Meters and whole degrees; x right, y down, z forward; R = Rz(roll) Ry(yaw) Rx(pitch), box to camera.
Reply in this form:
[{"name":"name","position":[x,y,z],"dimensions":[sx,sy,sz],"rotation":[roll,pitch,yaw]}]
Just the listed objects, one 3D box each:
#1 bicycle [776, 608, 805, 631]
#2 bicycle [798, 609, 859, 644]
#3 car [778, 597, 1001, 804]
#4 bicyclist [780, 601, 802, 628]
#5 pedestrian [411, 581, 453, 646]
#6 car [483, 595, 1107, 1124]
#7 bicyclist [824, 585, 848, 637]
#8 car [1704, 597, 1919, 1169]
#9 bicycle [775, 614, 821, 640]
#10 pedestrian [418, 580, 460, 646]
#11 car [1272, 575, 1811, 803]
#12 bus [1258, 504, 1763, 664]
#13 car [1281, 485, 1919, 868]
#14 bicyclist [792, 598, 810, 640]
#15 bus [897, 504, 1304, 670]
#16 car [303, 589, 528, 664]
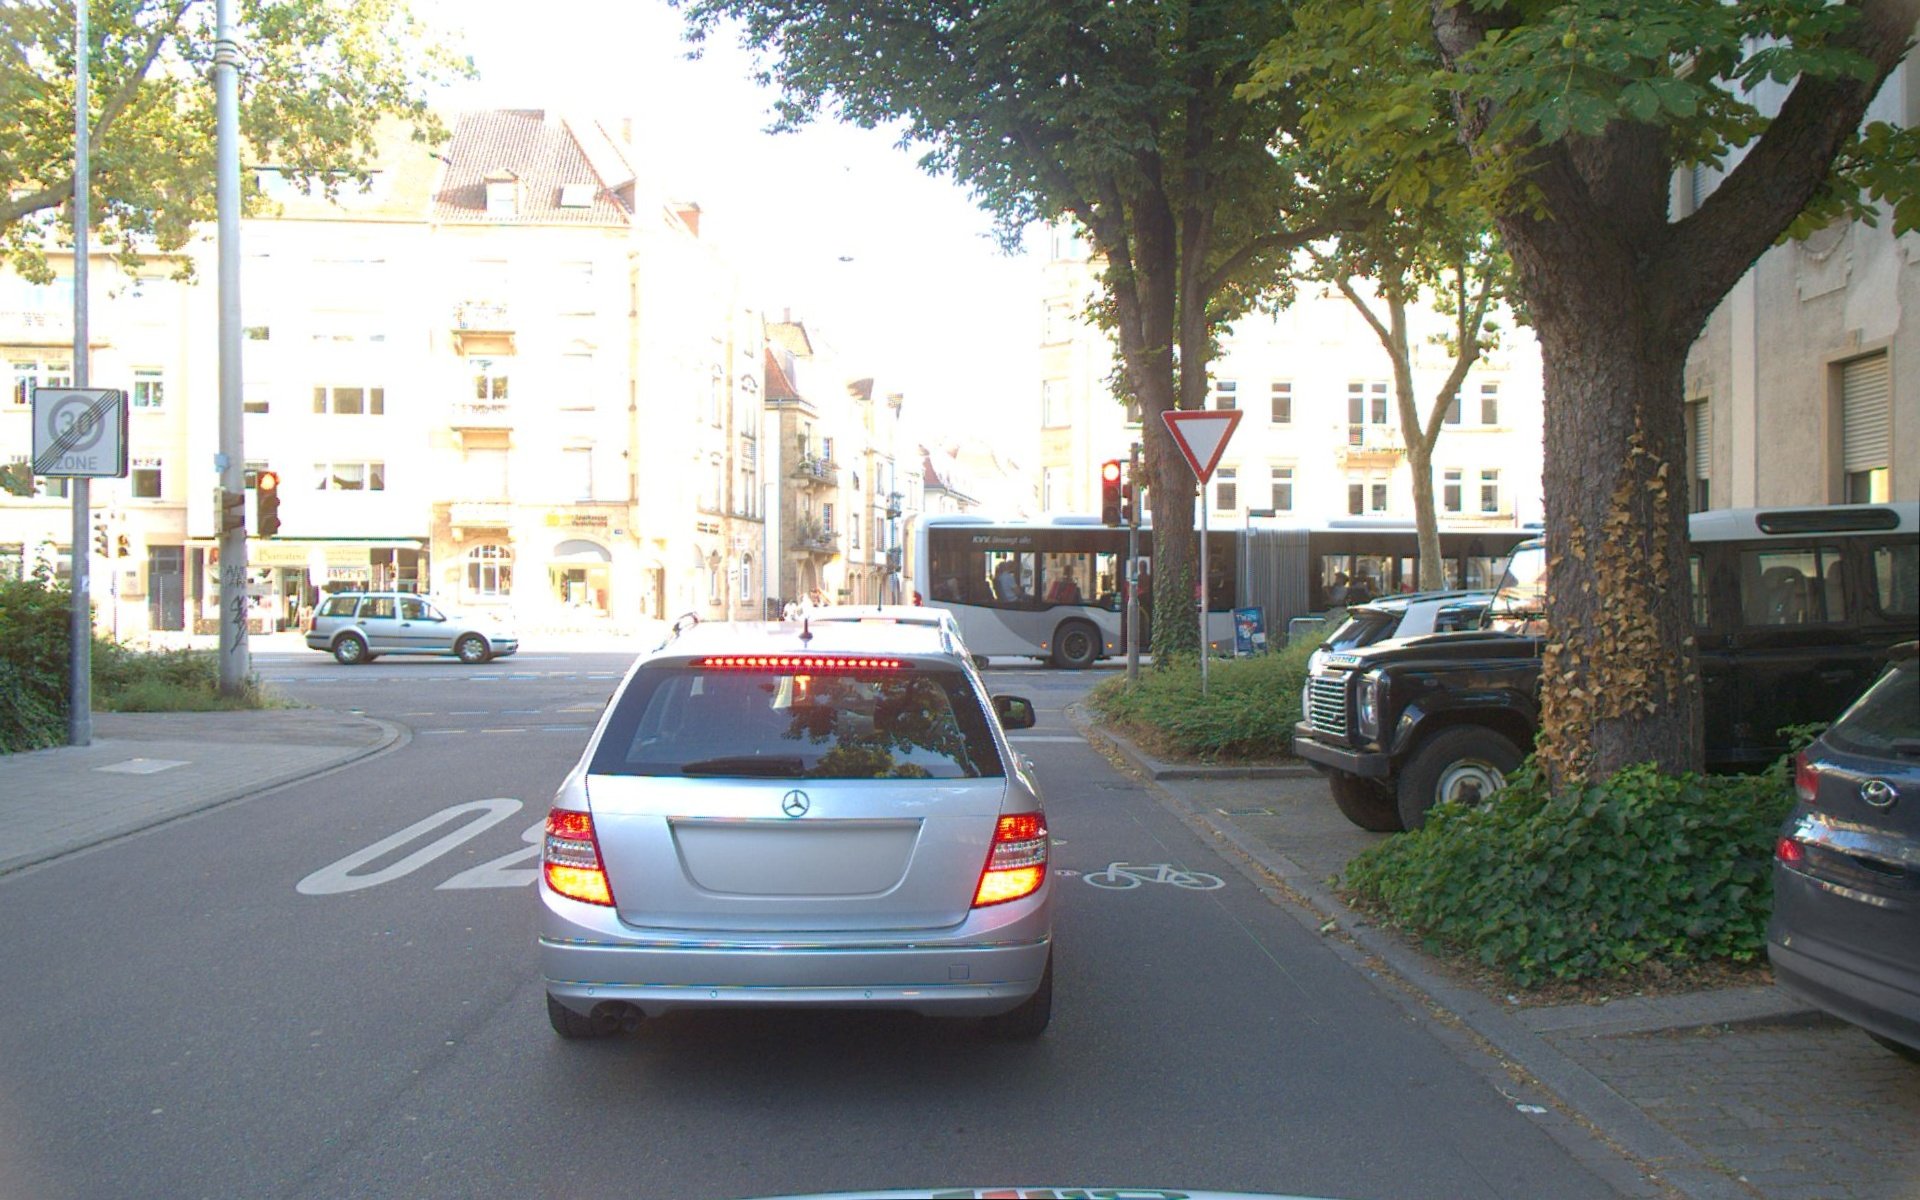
[{"name":"bicycle","position":[-7.501,0.860,73.262],"dimensions":[0.754,0.956,1.942],"rotation":[1,0,10]},{"name":"bicycle","position":[-4.820,0.982,60.757],"dimensions":[2.212,1.268,0.636],"rotation":[0,0,-5]},{"name":"car","position":[-0.591,0.724,14.034],"dimensions":[1.587,1.472,4.342],"rotation":[1,0,-2]},{"name":"bicyclist","position":[-7.483,0.634,73.340],"dimensions":[0.754,1.177,0.753],"rotation":[1,0,10]},{"name":"pedestrian","position":[-20.692,0.510,64.826],"dimensions":[1.320,2.507,1.059],"rotation":[0,0,-5]},{"name":"car","position":[-0.551,0.735,6.944],"dimensions":[1.741,1.477,4.546],"rotation":[1,0,-2]},{"name":"bicyclist","position":[-4.572,0.398,60.779],"dimensions":[0.874,1.892,0.636],"rotation":[0,0,-5]},{"name":"car","position":[4.284,0.700,4.606],"dimensions":[3.650,1.477,1.707],"rotation":[-1,0,-4]},{"name":"bicycle","position":[-5.668,0.928,57.898],"dimensions":[1.586,0.892,0.636],"rotation":[0,0,-6]},{"name":"pedestrian","position":[-20.099,0.510,63.779],"dimensions":[1.320,2.507,1.059],"rotation":[0,0,-5]},{"name":"car","position":[4.510,0.657,13.153],"dimensions":[3.650,1.597,1.707],"rotation":[-1,0,-4]},{"name":"bus","position":[11.866,-0.382,35.955],"dimensions":[10.258,3.257,2.906],"rotation":[0,0,-9]},{"name":"car","position":[4.369,0.410,10.185],"dimensions":[4.377,2.072,1.699],"rotation":[-1,0,-4]},{"name":"bicyclist","position":[-5.579,0.663,57.913],"dimensions":[0.631,1.451,0.636],"rotation":[0,0,-6]},{"name":"bus","position":[2.839,-0.304,34.497],"dimensions":[8.024,3.257,2.906],"rotation":[0,0,-9]},{"name":"car","position":[-11.446,0.540,35.002],"dimensions":[4.263,1.523,1.659],"rotation":[0,0,-7]}]
